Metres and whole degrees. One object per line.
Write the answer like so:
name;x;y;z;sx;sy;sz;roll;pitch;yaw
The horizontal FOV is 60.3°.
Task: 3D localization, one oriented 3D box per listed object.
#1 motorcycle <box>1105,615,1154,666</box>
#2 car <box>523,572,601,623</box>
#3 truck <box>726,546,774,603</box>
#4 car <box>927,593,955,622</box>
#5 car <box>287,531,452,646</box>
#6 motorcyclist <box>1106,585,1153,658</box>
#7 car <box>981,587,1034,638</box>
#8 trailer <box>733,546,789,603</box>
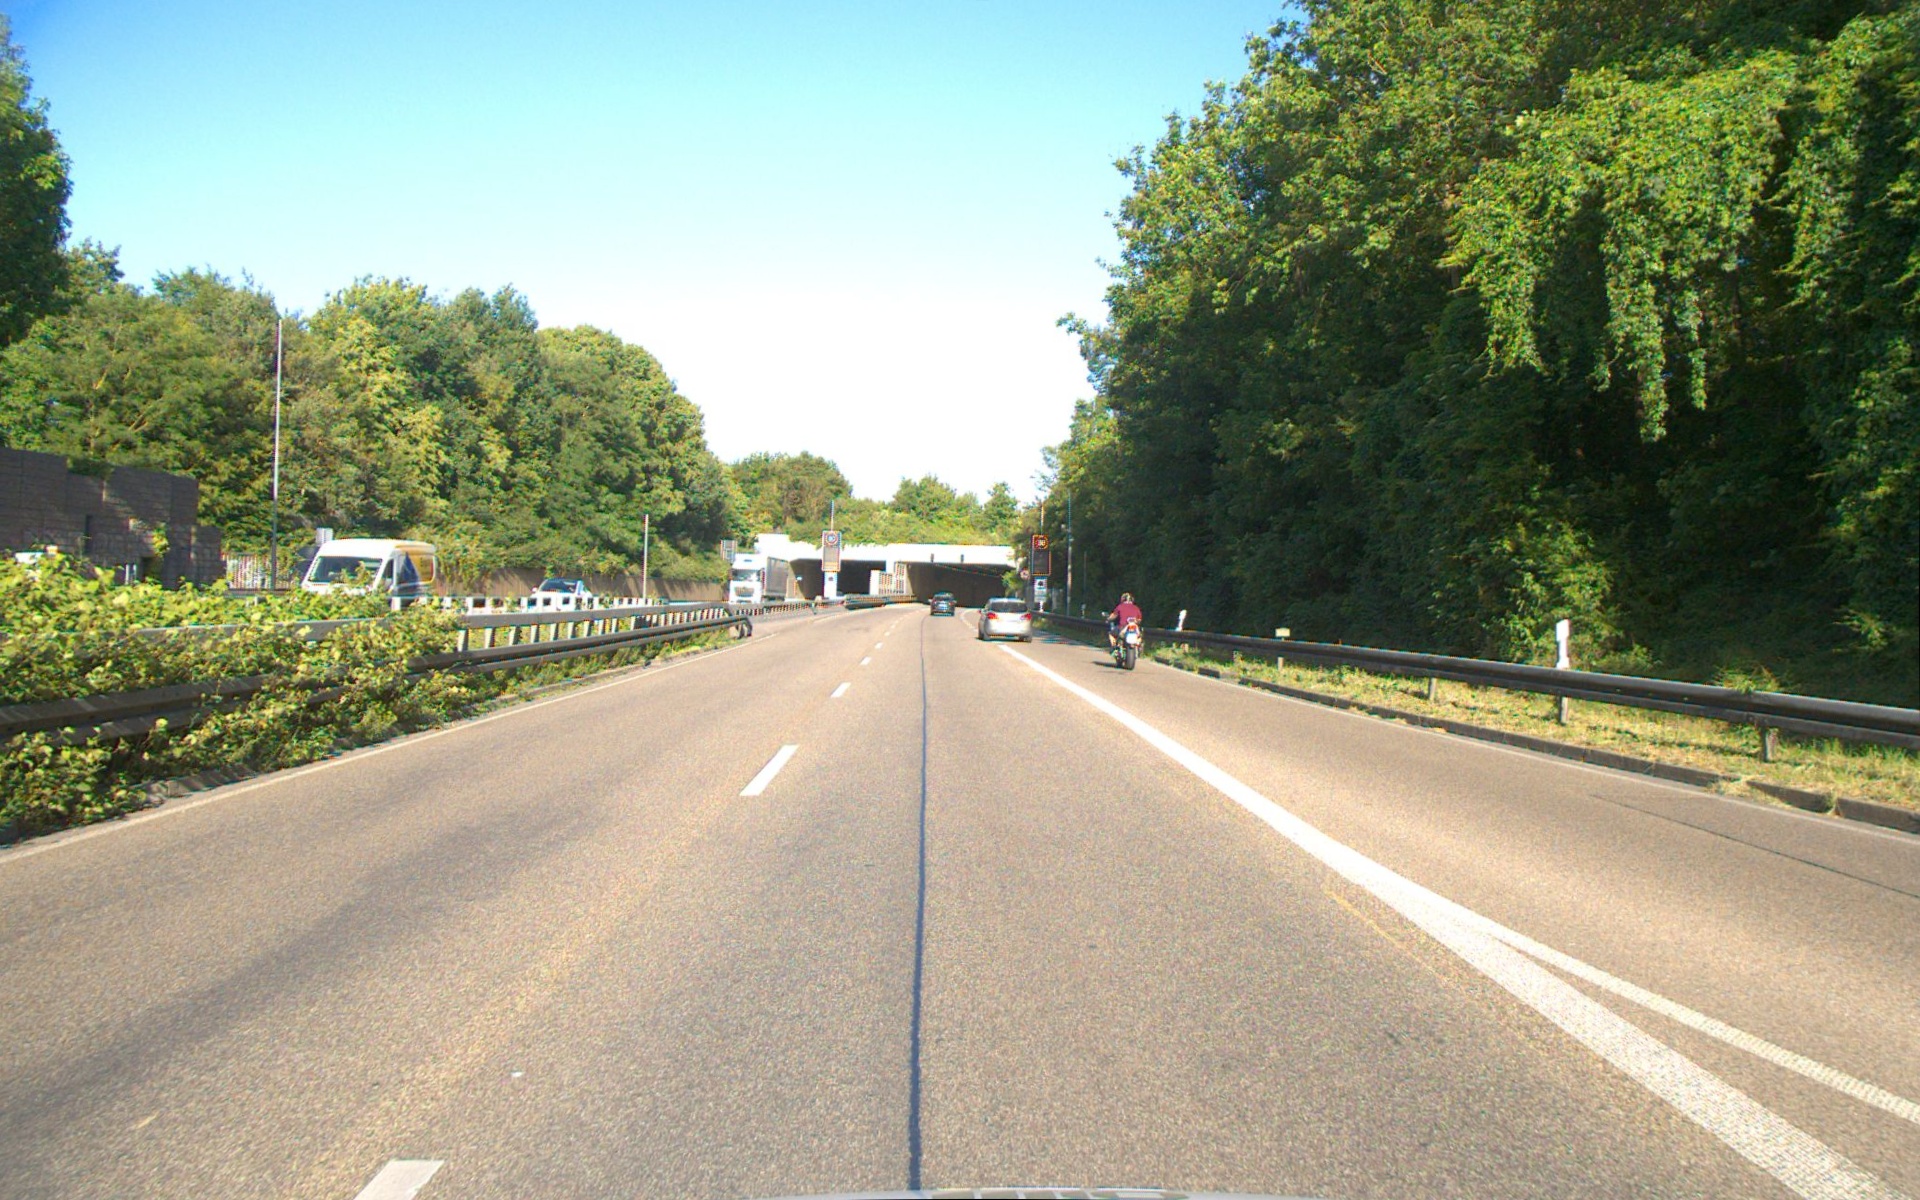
motorcycle;3.685;0.872;36.173;0.841;1.008;2.729;3;0;2
car;-15.742;-0.140;65.695;1.953;1.813;4.784;3;1;-1
truck;-16.692;-2.036;131.729;2.680;4.335;6.388;3;1;1
car;-1.361;0.496;119.633;1.953;1.959;4.000;2;1;-1
car;-15.243;-0.340;43.105;2.104;2.656;6.051;3;1;-1
motorcyclist;3.694;0.461;36.160;0.865;1.527;1.063;3;1;2
car;1.626;0.405;57.699;1.633;1.579;4.000;3;1;-1
trailer;-16.580;-2.169;138.672;2.691;4.354;14.087;3;1;0
